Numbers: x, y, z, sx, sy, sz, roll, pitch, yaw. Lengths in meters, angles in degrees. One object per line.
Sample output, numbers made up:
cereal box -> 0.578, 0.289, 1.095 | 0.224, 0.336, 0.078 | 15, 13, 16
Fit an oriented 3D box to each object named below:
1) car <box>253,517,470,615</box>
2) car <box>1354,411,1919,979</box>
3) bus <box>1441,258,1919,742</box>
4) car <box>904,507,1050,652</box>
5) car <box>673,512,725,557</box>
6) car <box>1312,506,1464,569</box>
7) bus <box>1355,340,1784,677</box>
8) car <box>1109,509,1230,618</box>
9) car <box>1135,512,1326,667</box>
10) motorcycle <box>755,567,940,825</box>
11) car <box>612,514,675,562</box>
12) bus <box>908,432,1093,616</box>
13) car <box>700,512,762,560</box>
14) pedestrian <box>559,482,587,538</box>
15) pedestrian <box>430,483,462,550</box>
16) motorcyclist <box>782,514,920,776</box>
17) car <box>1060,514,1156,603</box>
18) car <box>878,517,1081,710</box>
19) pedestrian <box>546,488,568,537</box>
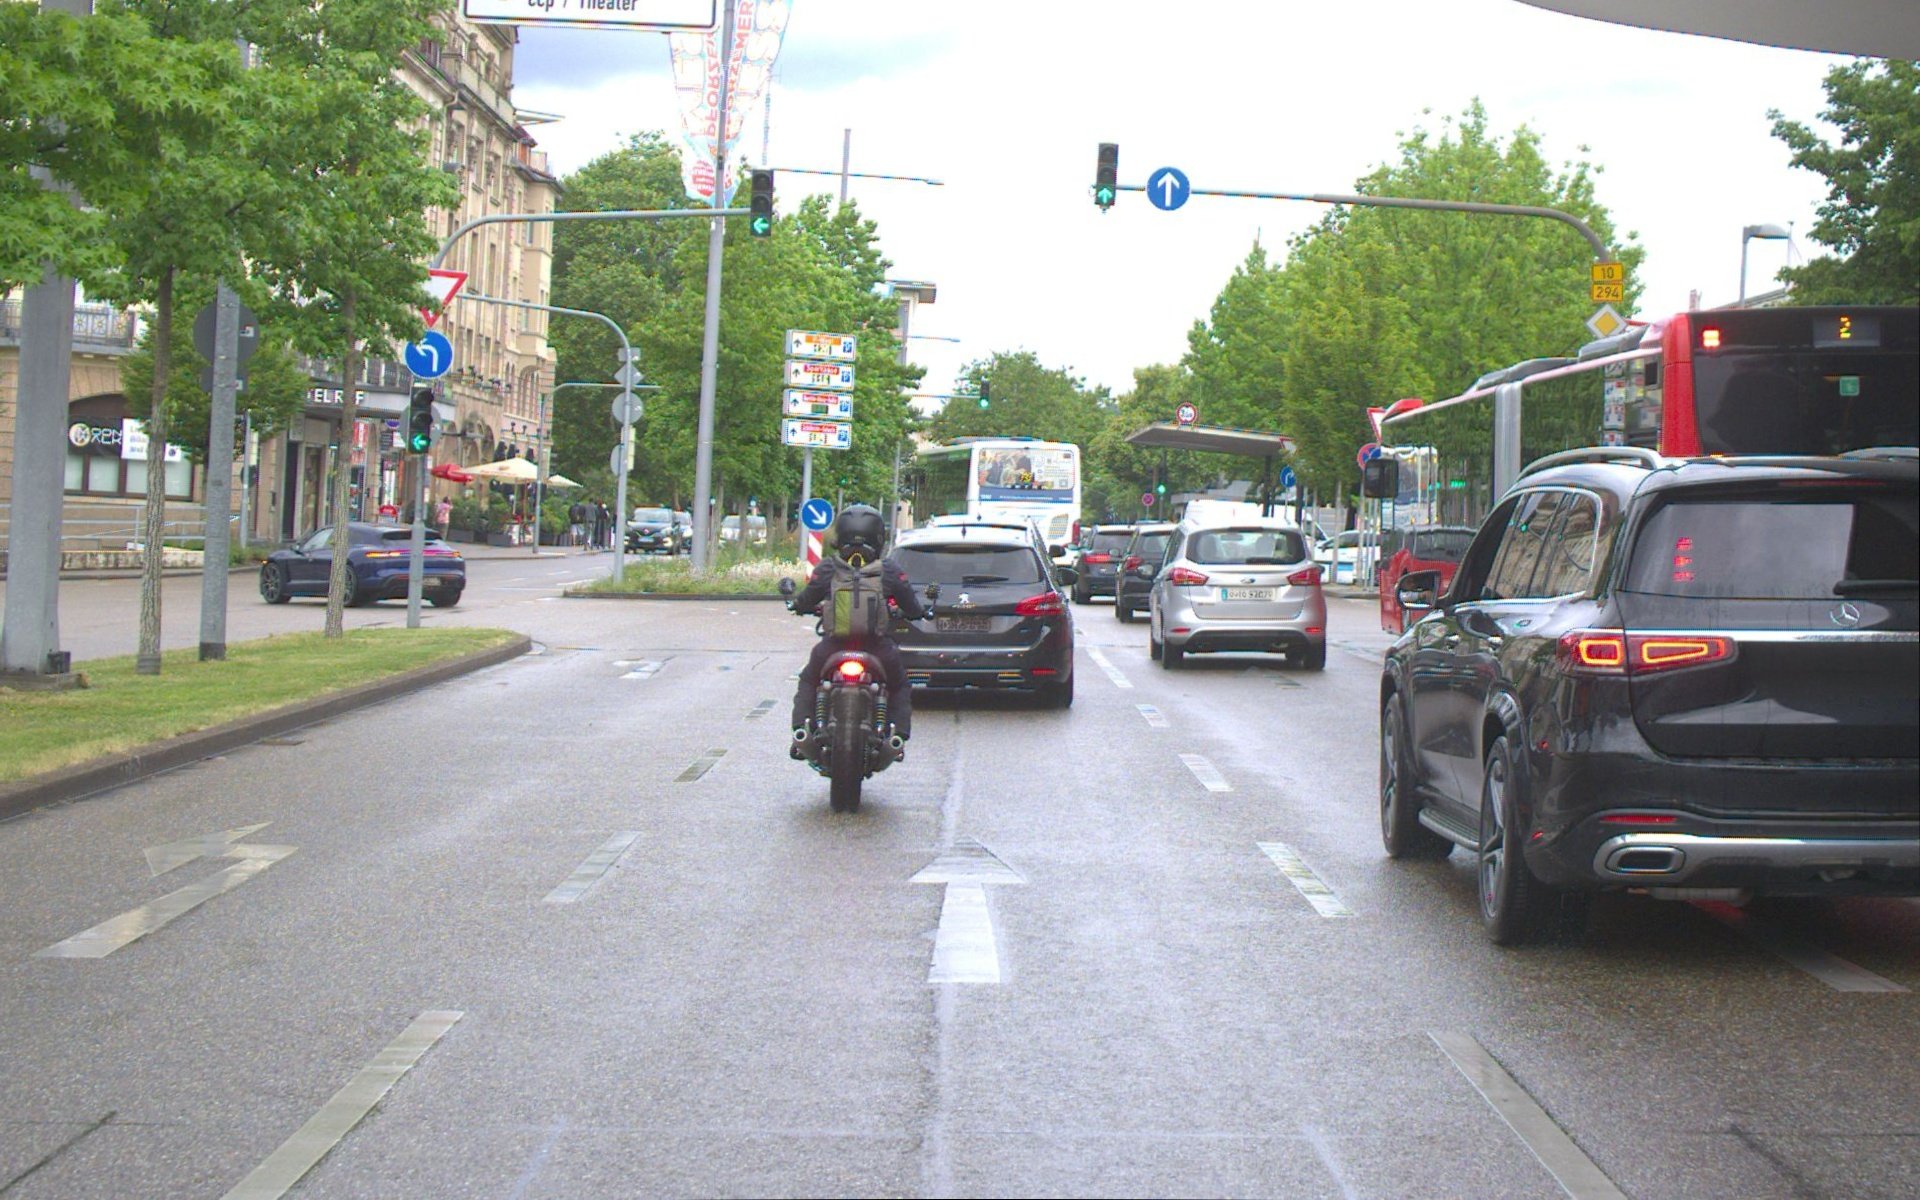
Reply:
car -> -9.969, -0.596, 57.064 | 1.816, 1.565, 4.403 | -1, 2, -35
car -> 2.834, 0.252, 13.773 | 1.957, 1.869, 4.874 | 0, 1, 0
bus -> 6.429, -0.792, 29.011 | 3.286, 3.280, 10.878 | 1, 1, 1
car -> 0.186, -0.270, 38.997 | 1.575, 1.562, 3.871 | 0, 1, 0
car -> -9.173, -2.328, 120.970 | 1.575, 1.562, 3.430 | 0, 1, 0
car -> 10.861, -1.610, 87.406 | 1.576, 1.562, 3.795 | -1, 2, -39
bus -> 6.560, -1.009, 38.573 | 3.291, 3.278, 8.849 | 1, 1, 1
car -> 3.075, -0.571, 51.000 | 1.575, 1.562, 3.871 | 0, 1, 0
car -> 2.831, -0.151, 36.669 | 1.741, 1.562, 3.871 | 0, 1, 0
motorcycle -> -0.570, 0.469, 18.129 | 0.793, 1.258, 1.855 | 0, 1, 4
car -> -10.526, -2.088, 114.546 | 1.780, 1.562, 3.430 | 0, 1, 0
bus -> 0.811, -1.782, 81.773 | 2.837, 3.974, 11.866 | 2, 1, -6
car -> -7.503, -2.119, 112.846 | 1.780, 1.562, 3.430 | 0, 1, 0
pedestrian -> -13.891, -3.230, 123.332 | 0.724, 1.959, 0.826 | 1, 1, -26
pedestrian -> -15.770, -2.565, 105.522 | 0.724, 2.007, 0.826 | 1, 1, -26
motorcyclist -> -0.570, 0.225, 18.126 | 0.641, 1.343, 0.689 | 1, 1, 3
car -> 2.643, -0.779, 62.141 | 1.575, 1.562, 3.796 | 0, 1, 0
car -> 0.179, 0.058, 28.651 | 1.575, 1.499, 3.871 | 0, 1, 1
pedestrian -> -14.613, -3.184, 124.677 | 0.561, 1.772, 0.498 | 2, 1, 35
